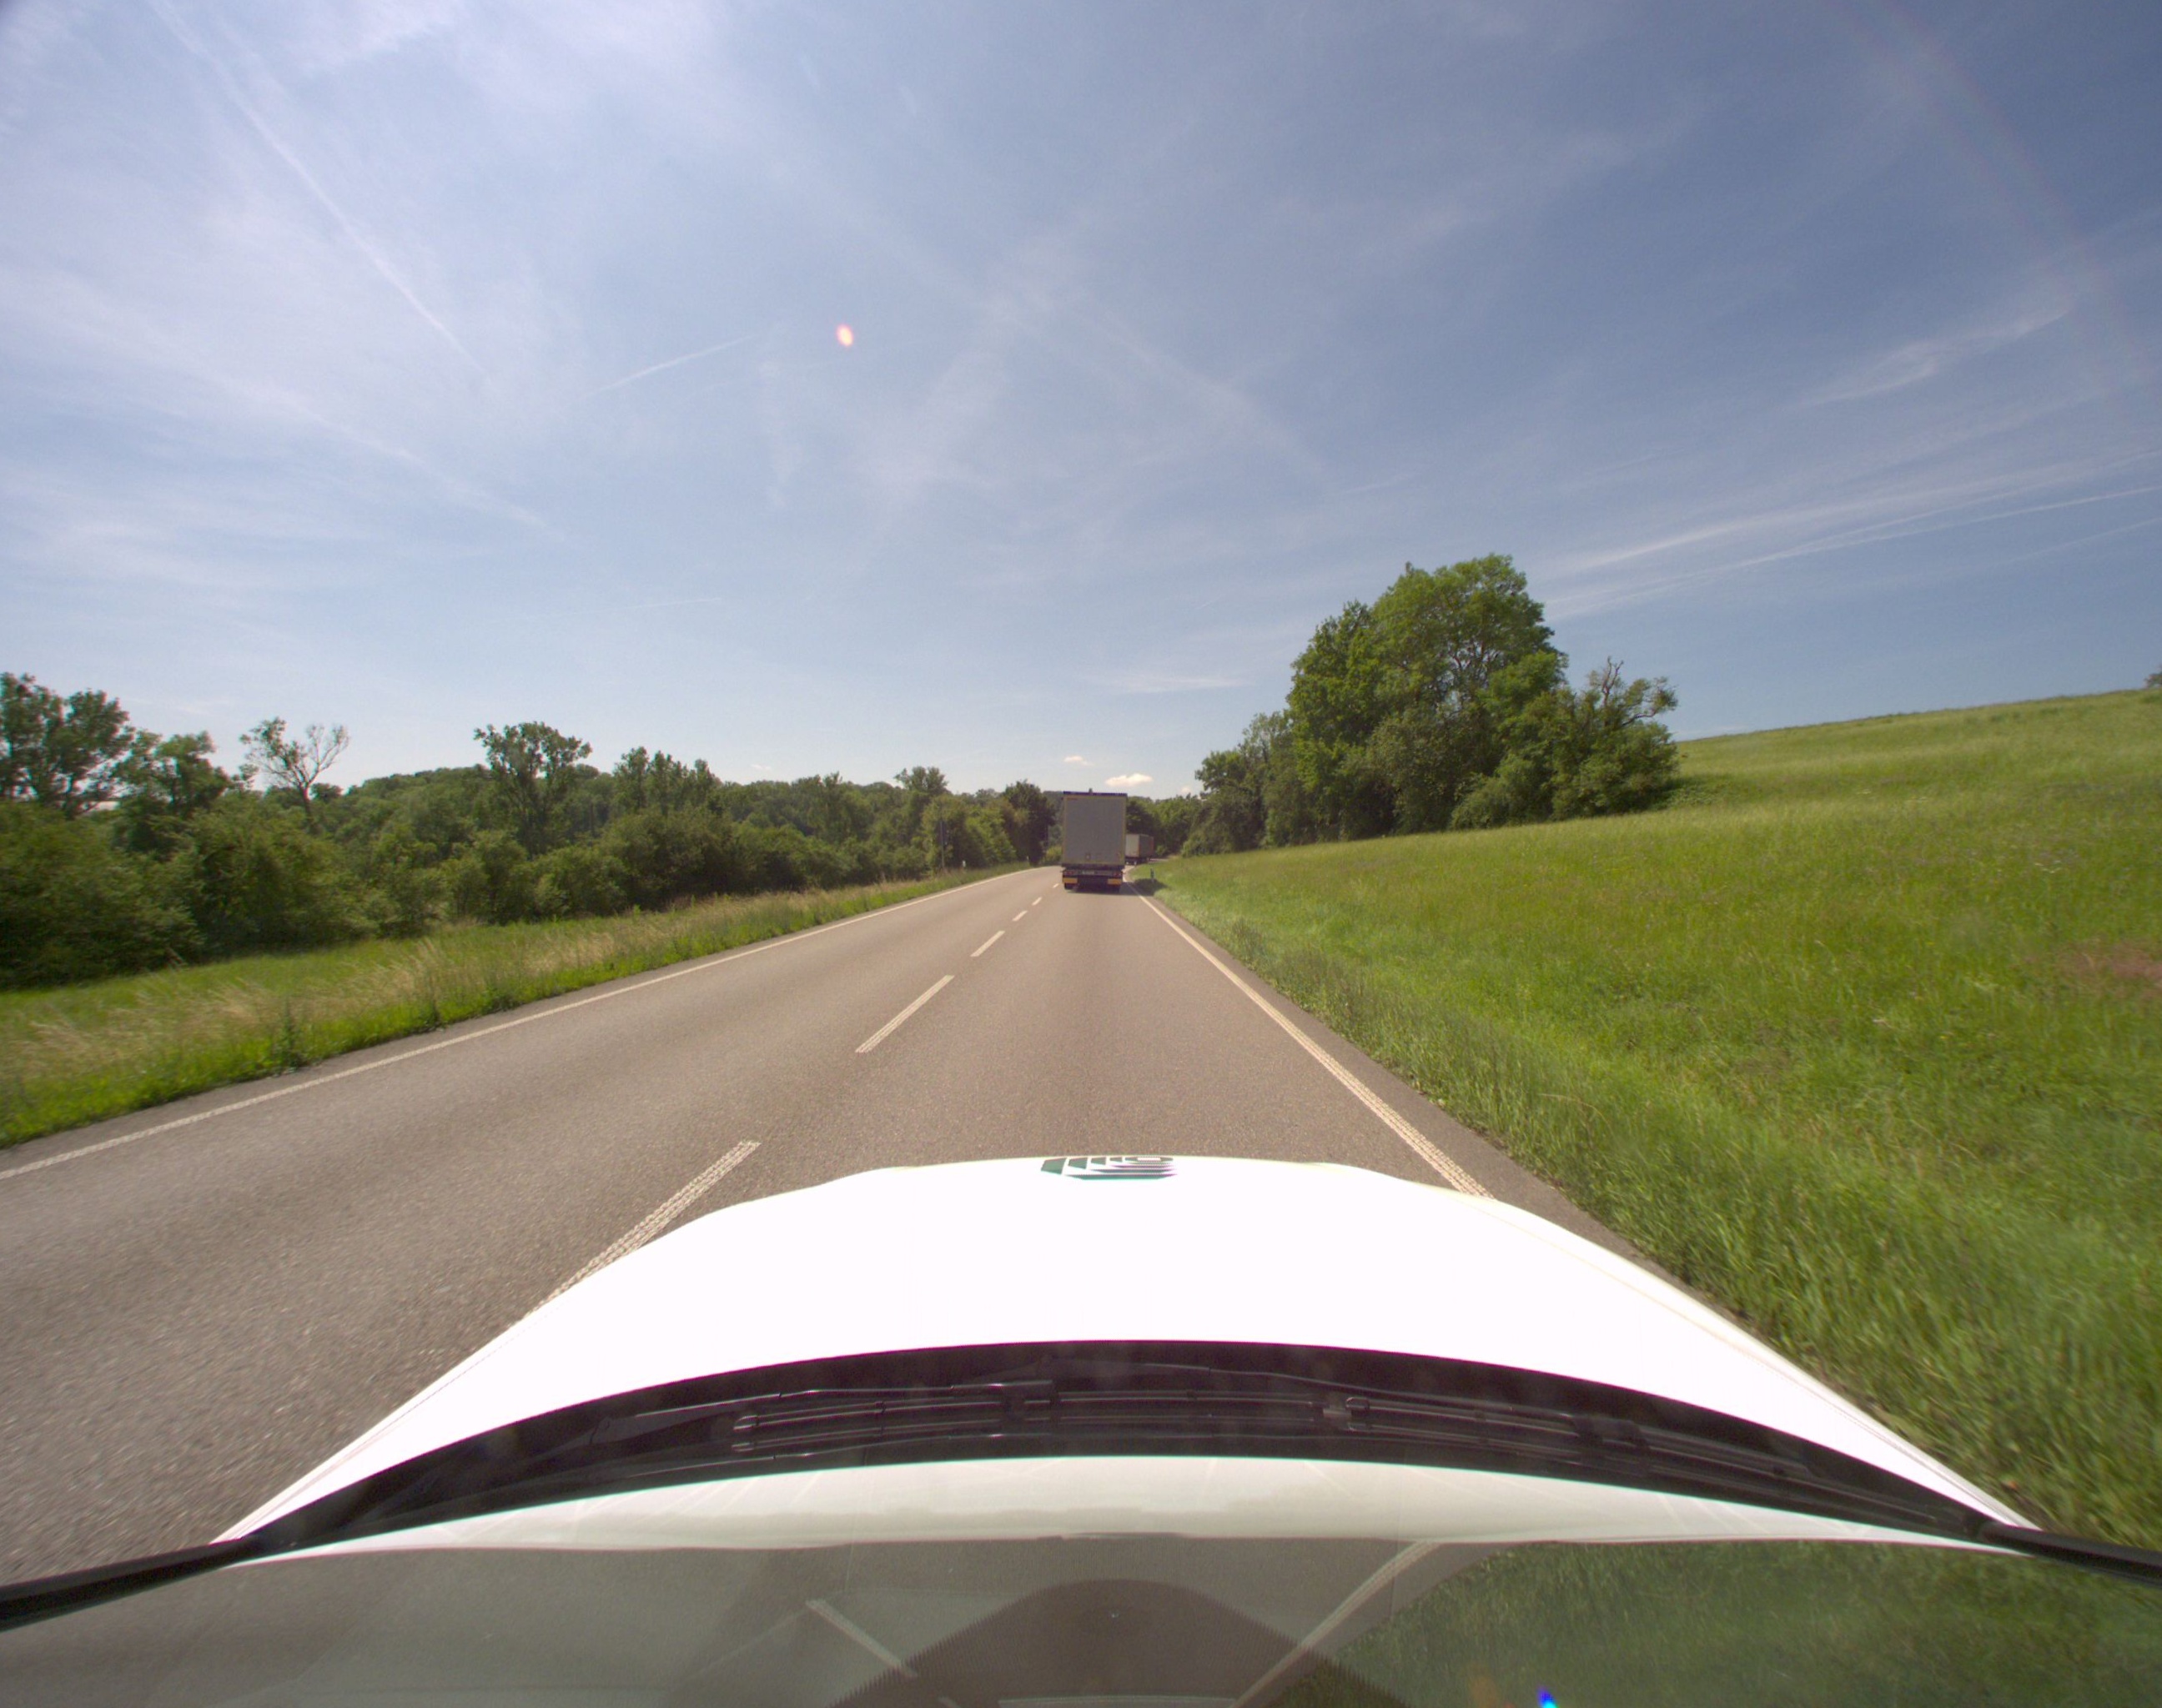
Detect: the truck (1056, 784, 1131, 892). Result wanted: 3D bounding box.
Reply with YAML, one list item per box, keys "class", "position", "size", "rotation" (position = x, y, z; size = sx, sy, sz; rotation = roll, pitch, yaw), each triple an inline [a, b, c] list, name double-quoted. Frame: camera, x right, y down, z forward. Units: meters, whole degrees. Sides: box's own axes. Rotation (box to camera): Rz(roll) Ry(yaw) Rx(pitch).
- class: "truck"
  position: [0.594, -0.594, 39.265]
  size: [2.792, 4.068, 15.326]
  rotation: [2, 0, 1]

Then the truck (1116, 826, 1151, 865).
- class: "truck"
  position: [7.304, -1.168, 109.930]
  size: [3.087, 4.705, 16.631]
  rotation: [2, 1, 9]
